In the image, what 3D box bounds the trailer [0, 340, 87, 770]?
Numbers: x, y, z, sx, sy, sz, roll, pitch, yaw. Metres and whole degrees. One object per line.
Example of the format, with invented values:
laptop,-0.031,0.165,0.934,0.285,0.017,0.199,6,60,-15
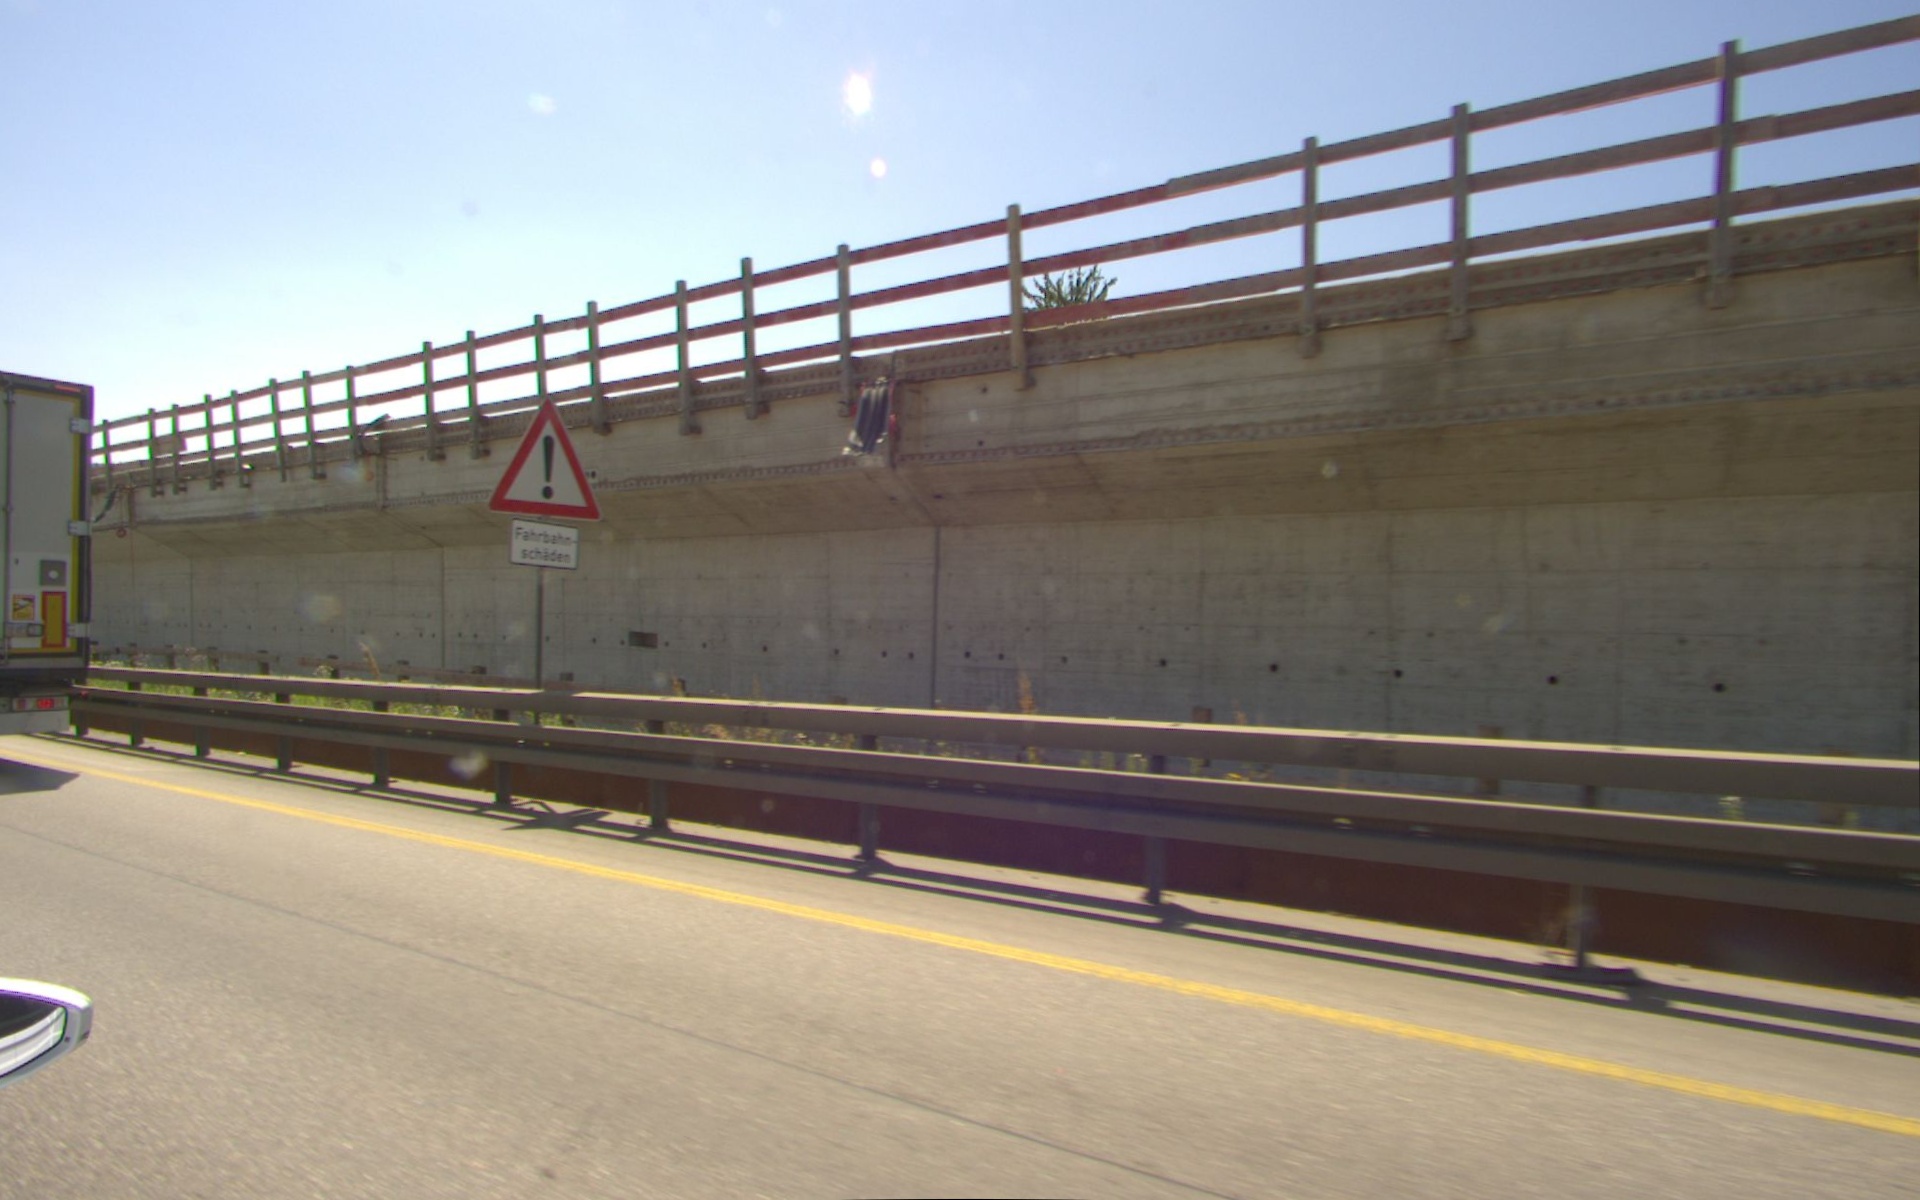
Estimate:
trailer,-14.435,-0.330,12.279,11.385,4.179,2.527,-1,-2,33
